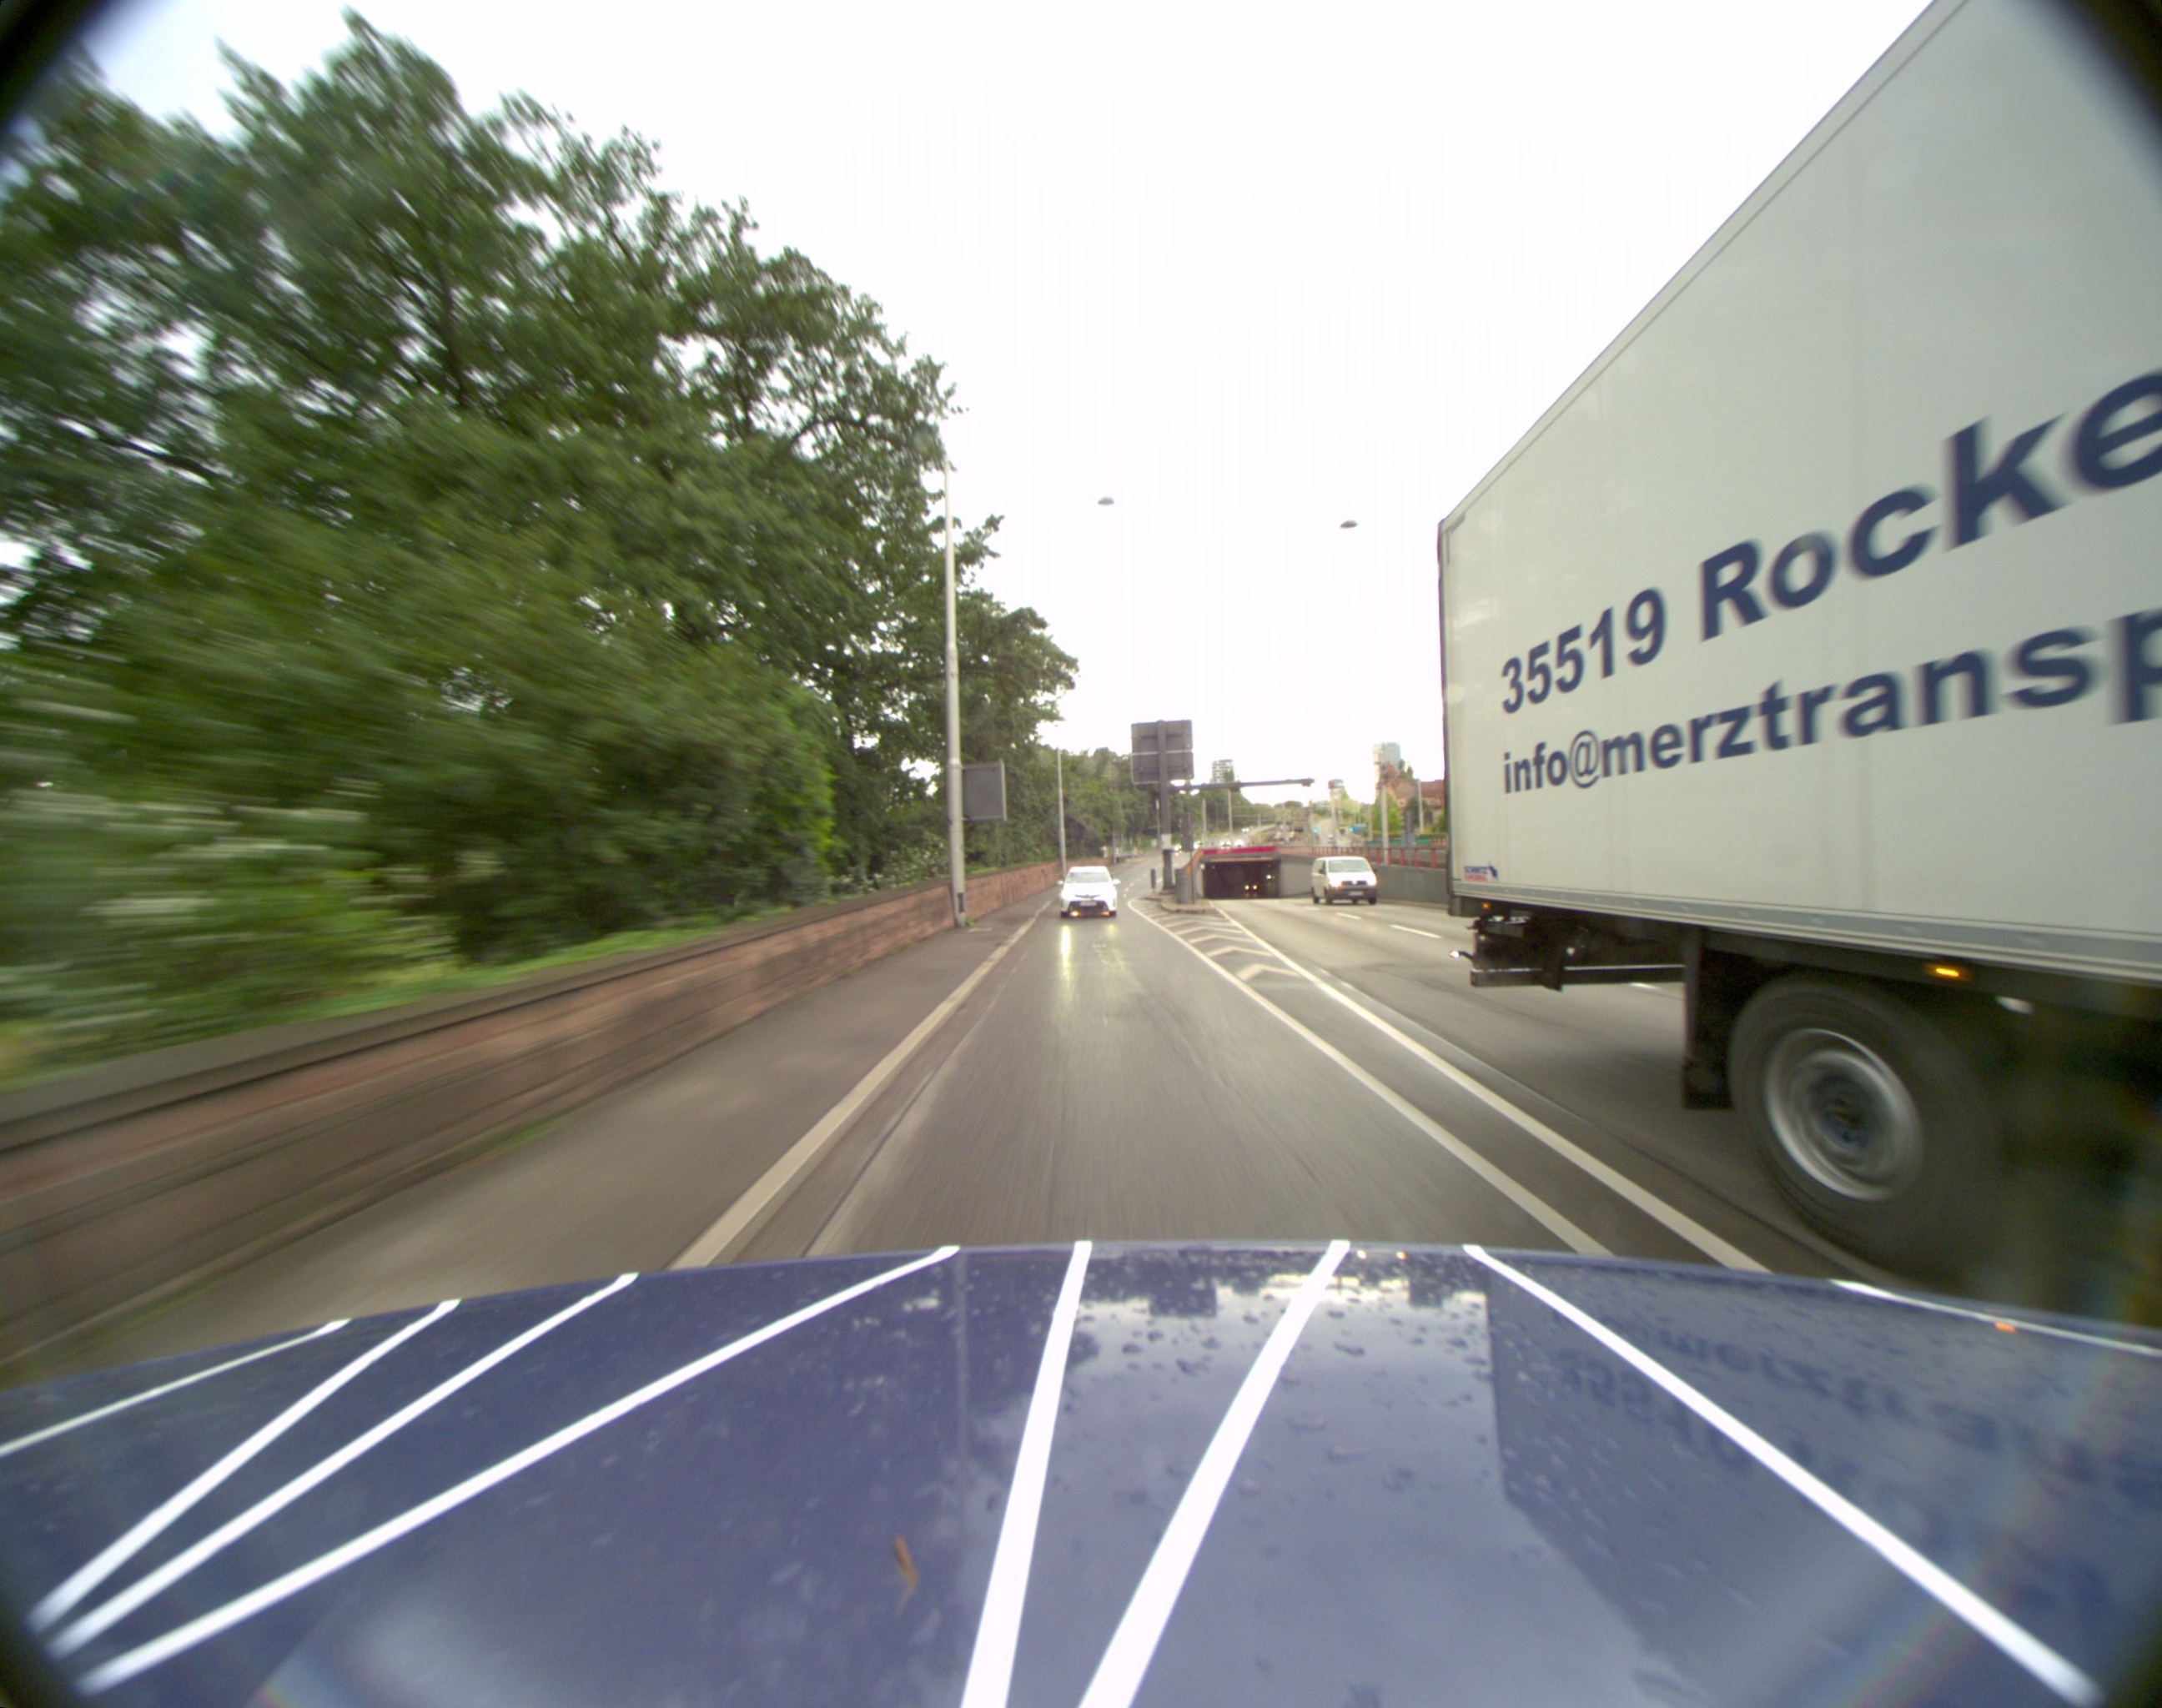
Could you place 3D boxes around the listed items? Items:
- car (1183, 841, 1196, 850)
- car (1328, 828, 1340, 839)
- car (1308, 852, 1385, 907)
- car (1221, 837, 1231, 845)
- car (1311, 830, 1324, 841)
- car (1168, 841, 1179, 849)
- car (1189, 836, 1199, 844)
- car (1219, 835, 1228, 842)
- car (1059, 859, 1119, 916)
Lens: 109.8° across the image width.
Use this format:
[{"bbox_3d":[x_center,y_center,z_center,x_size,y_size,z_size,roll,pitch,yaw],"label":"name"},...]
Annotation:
[{"bbox_3d":[21.765,-1.766,152.640,1.736,1.579,4.003,-2,3,19],"label":"car"},{"bbox_3d":[53.882,-4.300,161.939,1.996,2.003,4.001,-2,4,15],"label":"car"},{"bbox_3d":[10.745,1.074,31.136,1.997,2.014,4.690,-2,-3,7],"label":"car"},{"bbox_3d":[34.158,-3.071,179.092,1.736,1.579,4.003,-2,3,19],"label":"car"},{"bbox_3d":[50.073,-3.929,160.582,1.995,2.003,4.004,-2,4,25],"label":"car"},{"bbox_3d":[19.128,-1.895,157.617,1.887,1.463,4.012,-3,0,12],"label":"car"},{"bbox_3d":[24.869,-3.020,167.000,1.800,1.502,4.003,-3,0,10],"label":"car"},{"bbox_3d":[33.733,-3.617,179.709,1.800,1.463,4.002,-3,2,11],"label":"car"},{"bbox_3d":[0.270,1.088,26.245,1.856,1.741,4.000,-1,0,0],"label":"car"}]
